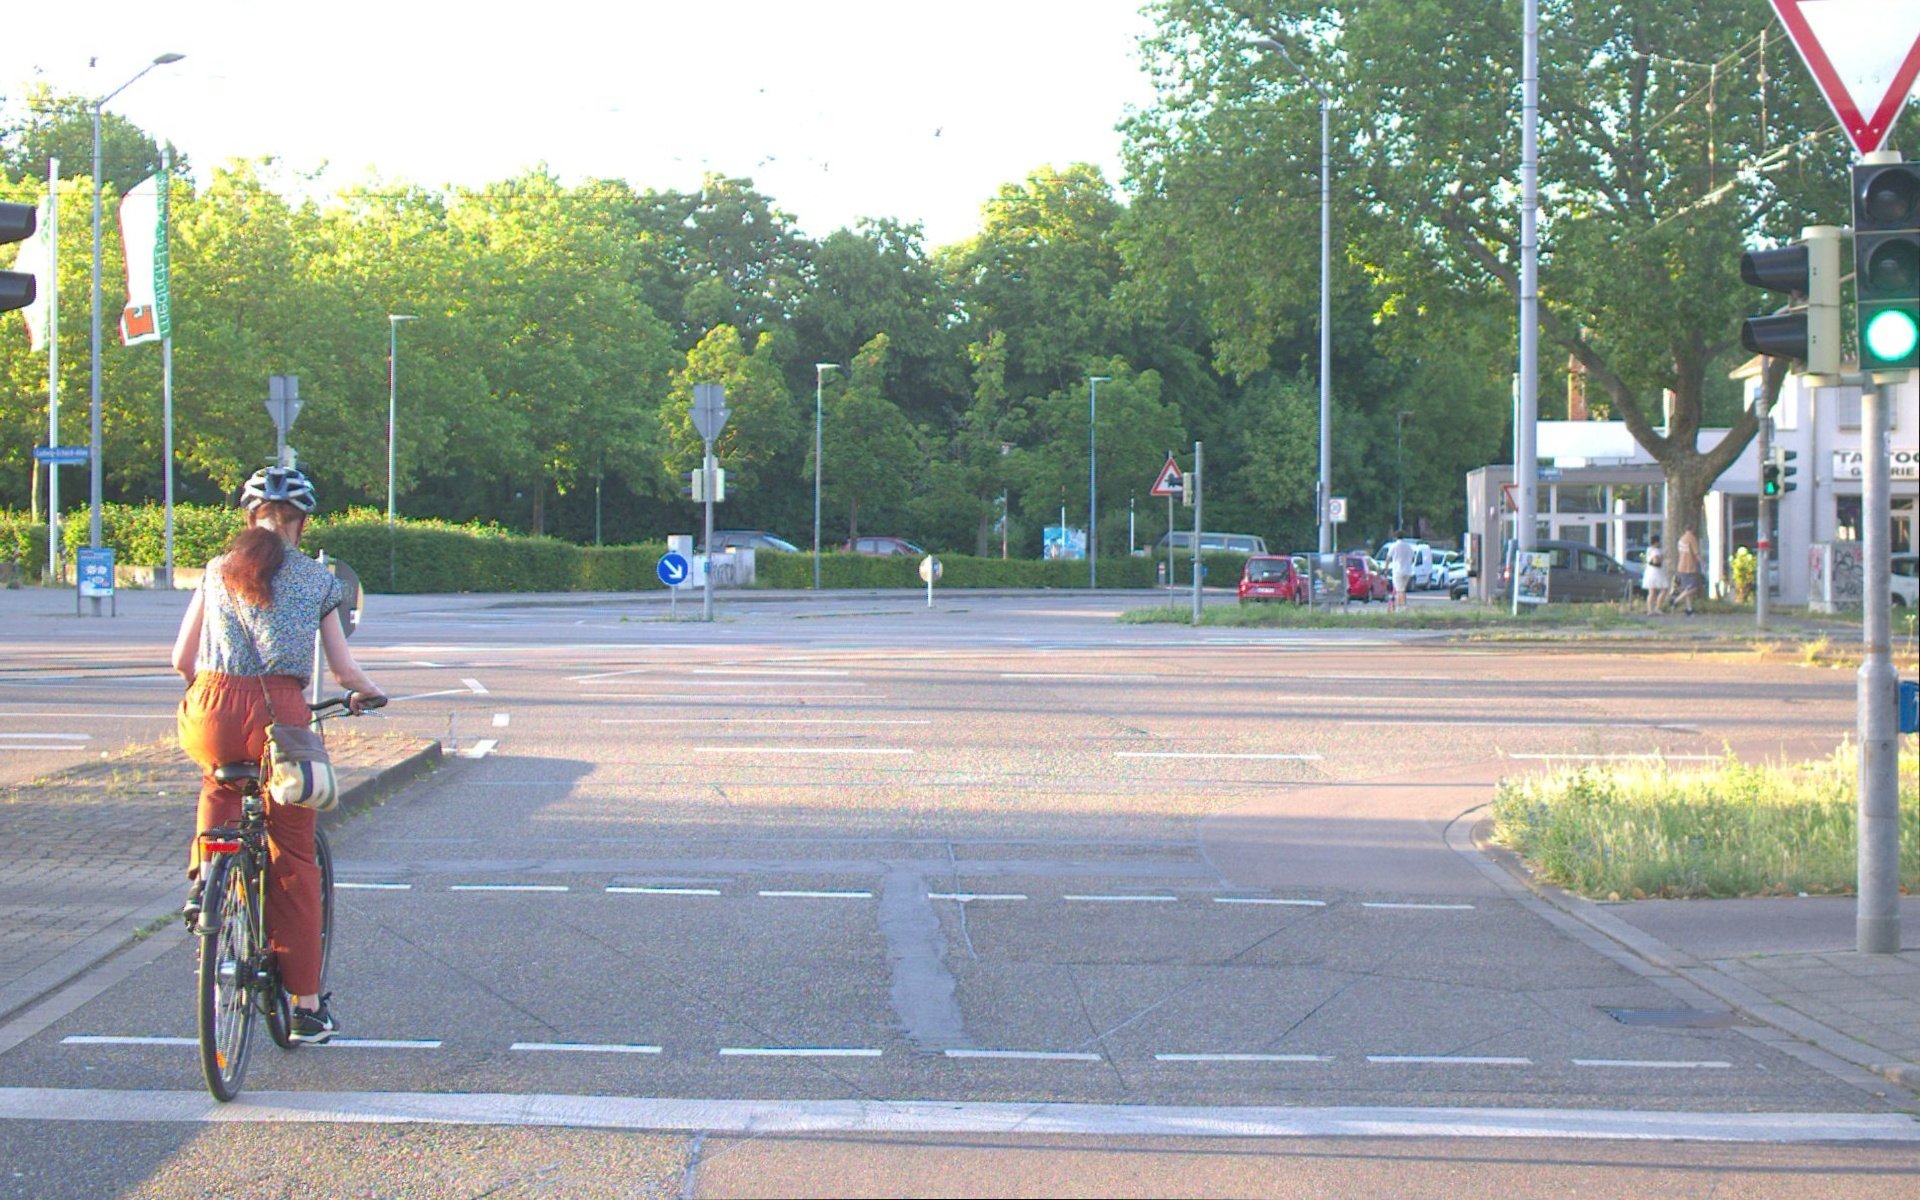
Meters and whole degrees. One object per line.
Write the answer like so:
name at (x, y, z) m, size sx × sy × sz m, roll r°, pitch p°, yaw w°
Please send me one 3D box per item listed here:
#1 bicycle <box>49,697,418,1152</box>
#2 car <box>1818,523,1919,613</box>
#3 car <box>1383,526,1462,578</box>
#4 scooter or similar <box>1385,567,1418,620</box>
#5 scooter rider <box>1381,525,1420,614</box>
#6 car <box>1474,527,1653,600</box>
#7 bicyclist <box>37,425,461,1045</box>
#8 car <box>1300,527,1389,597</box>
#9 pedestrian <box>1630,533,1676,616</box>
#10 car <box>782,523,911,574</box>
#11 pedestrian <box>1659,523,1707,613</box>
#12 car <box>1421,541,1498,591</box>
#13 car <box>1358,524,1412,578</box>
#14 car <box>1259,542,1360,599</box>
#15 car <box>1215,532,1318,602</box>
bicycle at (-2.038, 0.867, 9.918) m, size 0.634 × 1.064 × 2.122 m, roll 1°, pitch 1°, yaw -1°
car at (20.327, -0.670, 71.990) m, size 4.230 × 1.840 × 2.000 m, roll 1°, pitch 1°, yaw 2°
car at (18.203, -1.887, 135.168) m, size 1.996 × 2.007 × 3.995 m, roll 1°, pitch 1°, yaw 24°
scooter or similar at (9.251, -0.133, 72.014) m, size 0.510 × 1.086 × 1.243 m, roll 1°, pitch 1°, yaw -1°
scooter rider at (9.236, -0.631, 72.043) m, size 0.702 × 1.848 × 0.669 m, roll 1°, pitch 0°, yaw -1°
car at (15.501, -0.959, 88.476) m, size 4.377 × 1.828 × 1.948 m, roll 0°, pitch 1°, yaw 5°
bicyclist at (-2.044, 0.367, 10.026) m, size 1.031 × 1.712 × 0.996 m, roll 1°, pitch 1°, yaw -1°
car at (11.516, -1.160, 102.824) m, size 1.916 × 2.040 × 3.997 m, roll 1°, pitch 1°, yaw 17°
pedestrian at (13.819, -0.506, 68.541) m, size 0.719 × 1.633 × 0.896 m, roll 1°, pitch 1°, yaw 24°
car at (-3.585, -1.643, 109.022) m, size 3.987 × 1.555 × 2.000 m, roll 1°, pitch 1°, yaw 1°
pedestrian at (14.135, -0.630, 67.215) m, size 0.719 × 1.748 × 0.896 m, roll 1°, pitch 1°, yaw 24°
car at (16.725, -1.154, 114.989) m, size 1.916 × 1.597 × 3.997 m, roll 1°, pitch 1°, yaw 17°
car at (16.125, -1.882, 130.689) m, size 1.994 × 2.007 × 3.999 m, roll 1°, pitch 1°, yaw 7°
car at (10.095, -0.854, 99.009) m, size 1.995 × 1.568 × 3.996 m, roll 1°, pitch 1°, yaw 19°
car at (8.508, -0.934, 95.209) m, size 1.870 × 1.868 × 3.870 m, roll 1°, pitch 1°, yaw 21°
